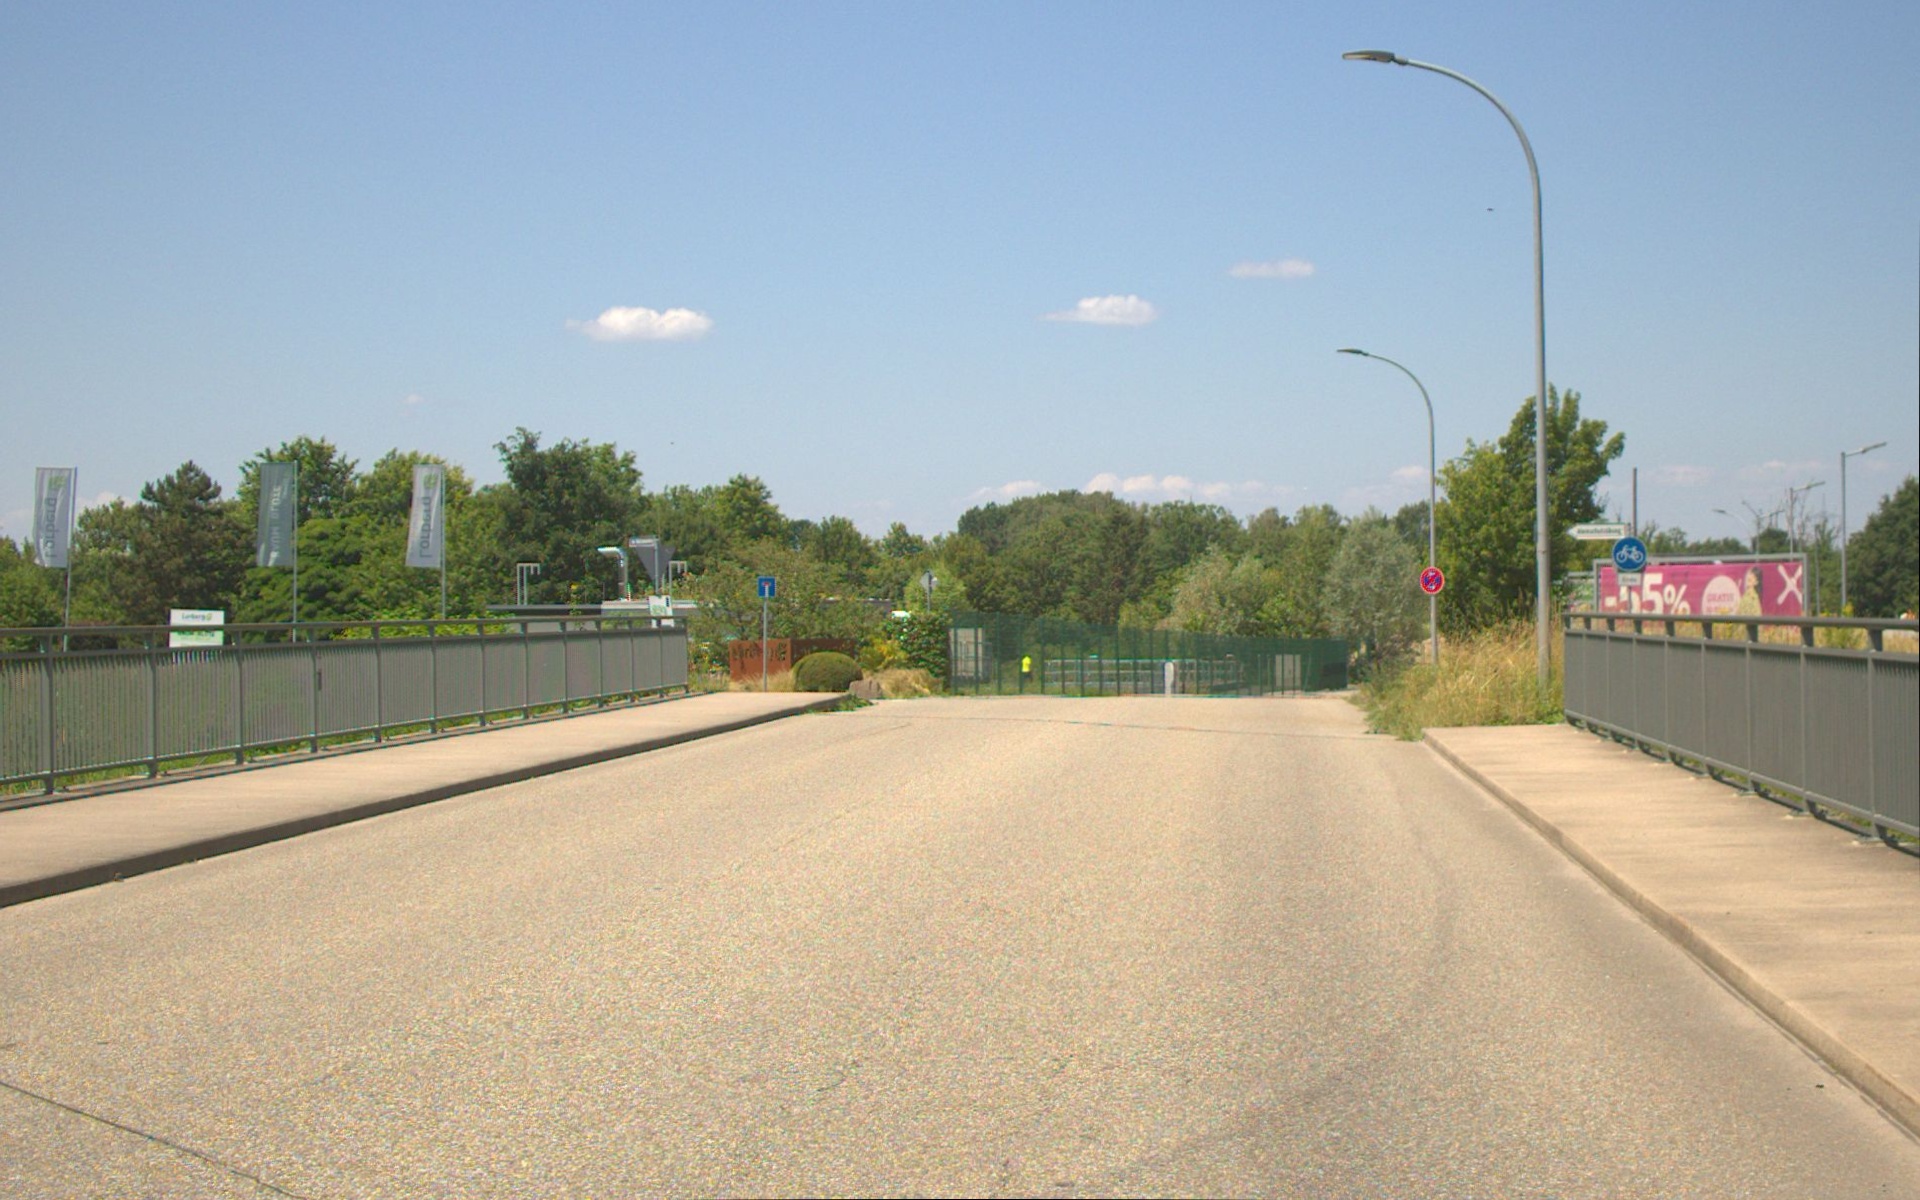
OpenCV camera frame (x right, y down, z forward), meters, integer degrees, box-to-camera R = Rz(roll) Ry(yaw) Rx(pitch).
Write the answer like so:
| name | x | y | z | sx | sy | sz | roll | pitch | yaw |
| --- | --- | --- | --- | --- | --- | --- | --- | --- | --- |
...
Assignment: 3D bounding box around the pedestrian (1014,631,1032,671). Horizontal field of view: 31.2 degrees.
| name | x | y | z | sx | sy | sz | roll | pitch | yaw |
| --- | --- | --- | --- | --- | --- | --- | --- | --- | --- |
| pedestrian | 2.919 | 2.366 | 158.955 | 0.606 | 1.833 | 0.804 | -1 | -1 | 13 |
